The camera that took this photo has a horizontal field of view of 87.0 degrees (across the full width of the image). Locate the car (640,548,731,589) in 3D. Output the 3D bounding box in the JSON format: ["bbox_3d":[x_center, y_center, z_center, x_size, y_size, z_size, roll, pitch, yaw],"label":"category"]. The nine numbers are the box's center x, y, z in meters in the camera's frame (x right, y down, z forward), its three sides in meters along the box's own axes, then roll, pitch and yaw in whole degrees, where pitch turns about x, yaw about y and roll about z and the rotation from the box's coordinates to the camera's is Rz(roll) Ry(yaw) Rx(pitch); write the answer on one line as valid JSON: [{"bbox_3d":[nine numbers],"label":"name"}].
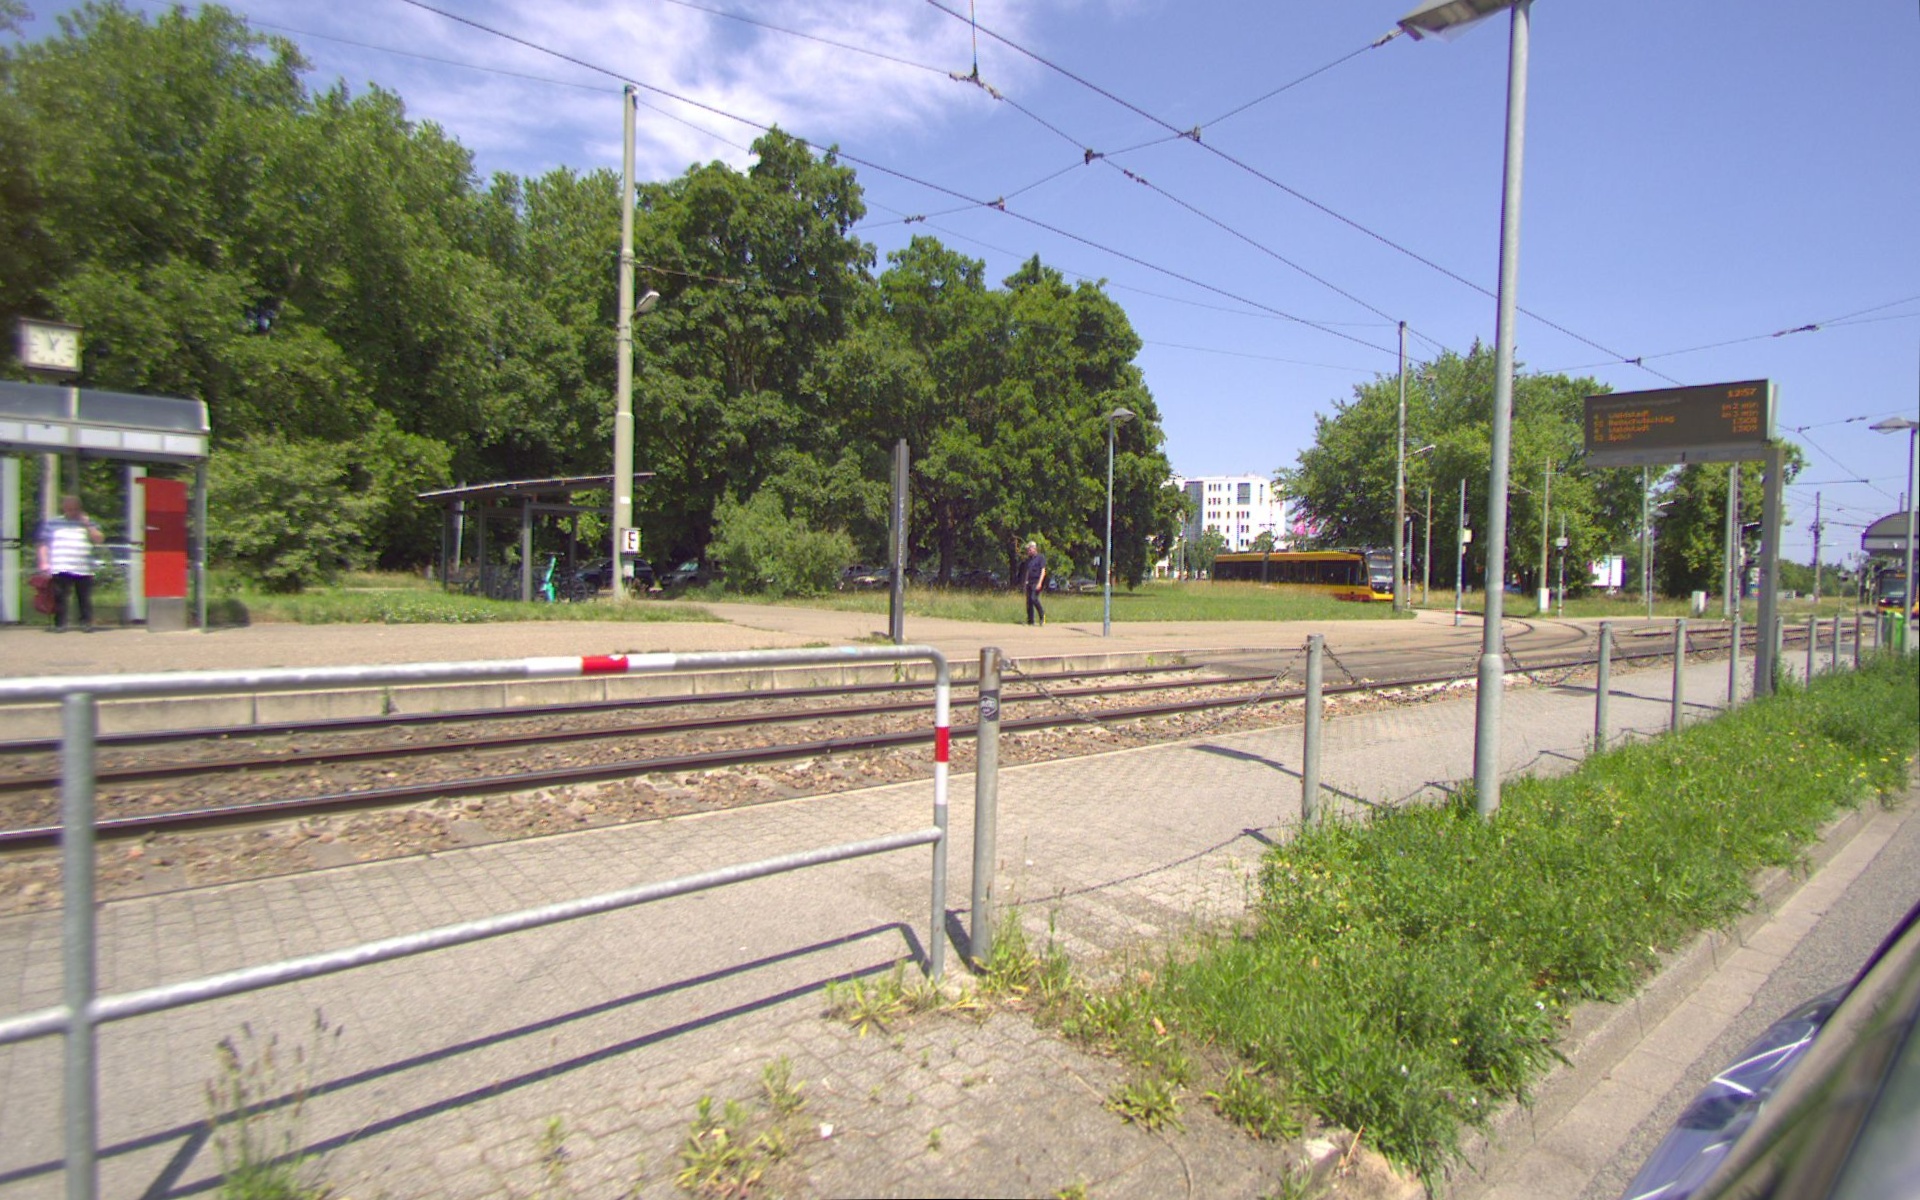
[{"bbox_3d":[-12.981,-1.477,48.071,1.983,1.793,3.960,2,2,29],"label":"car"}]

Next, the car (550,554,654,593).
[{"bbox_3d":[-15.315,-1.136,43.429,1.872,1.529,3.958,3,2,30],"label":"car"}]

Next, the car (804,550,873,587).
[{"bbox_3d":[-7.028,-1.827,58.897,1.984,2.038,3.956,3,2,31],"label":"car"}]

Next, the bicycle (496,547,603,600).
[{"bbox_3d":[-9.392,-0.598,23.194,2.151,1.101,0.599,3,0,-40],"label":"bicycle"}]

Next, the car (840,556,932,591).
[{"bbox_3d":[-3.648,-1.328,51.057,2.109,1.631,4.999,3,2,32],"label":"car"}]

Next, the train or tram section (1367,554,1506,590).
[{"bbox_3d":[50.187,-2.940,106.928,13.037,3.695,2.708,0,1,10],"label":"train or tram section"}]

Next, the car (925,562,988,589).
[{"bbox_3d":[-0.145,-1.373,56.948,1.940,1.440,3.908,3,2,27],"label":"car"}]

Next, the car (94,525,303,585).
[{"bbox_3d":[-22.836,-1.308,30.569,1.982,1.649,4.679,2,2,28],"label":"car"}]

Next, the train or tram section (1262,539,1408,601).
[{"bbox_3d":[24.495,-1.948,67.299,2.659,3.694,13.211,0,1,-11],"label":"train or tram section"}]

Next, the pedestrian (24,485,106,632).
[{"bbox_3d":[-11.243,-0.517,12.733,0.726,1.796,0.382,-1,1,-38],"label":"pedestrian"}]

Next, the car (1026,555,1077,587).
[{"bbox_3d":[6.194,-1.966,67.930,1.940,2.038,4.274,3,2,27],"label":"car"}]

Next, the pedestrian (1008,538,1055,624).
[{"bbox_3d":[1.507,-0.411,21.487,0.645,1.786,0.708,0,2,-38],"label":"pedestrian"}]

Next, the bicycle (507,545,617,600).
[{"bbox_3d":[-8.804,-0.590,22.473,2.151,1.101,0.599,3,0,-40],"label":"bicycle"}]

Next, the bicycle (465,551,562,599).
[{"bbox_3d":[-11.484,-0.638,26.068,2.151,1.101,0.599,3,0,-40],"label":"bicycle"}]

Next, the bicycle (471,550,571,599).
[{"bbox_3d":[-10.849,-0.621,25.073,2.151,1.101,0.599,3,0,-40],"label":"bicycle"}]

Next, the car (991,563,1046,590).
[{"bbox_3d":[3.671,-1.450,62.597,1.689,1.558,4.572,3,2,27],"label":"car"}]

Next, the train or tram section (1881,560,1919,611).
[{"bbox_3d":[66.454,-1.067,70.359,7.132,3.363,2.524,-1,3,-40],"label":"train or tram section"}]

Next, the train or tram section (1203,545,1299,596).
[{"bbox_3d":[22.732,-2.262,80.151,2.661,3.694,13.266,0,1,-5],"label":"train or tram section"}]
